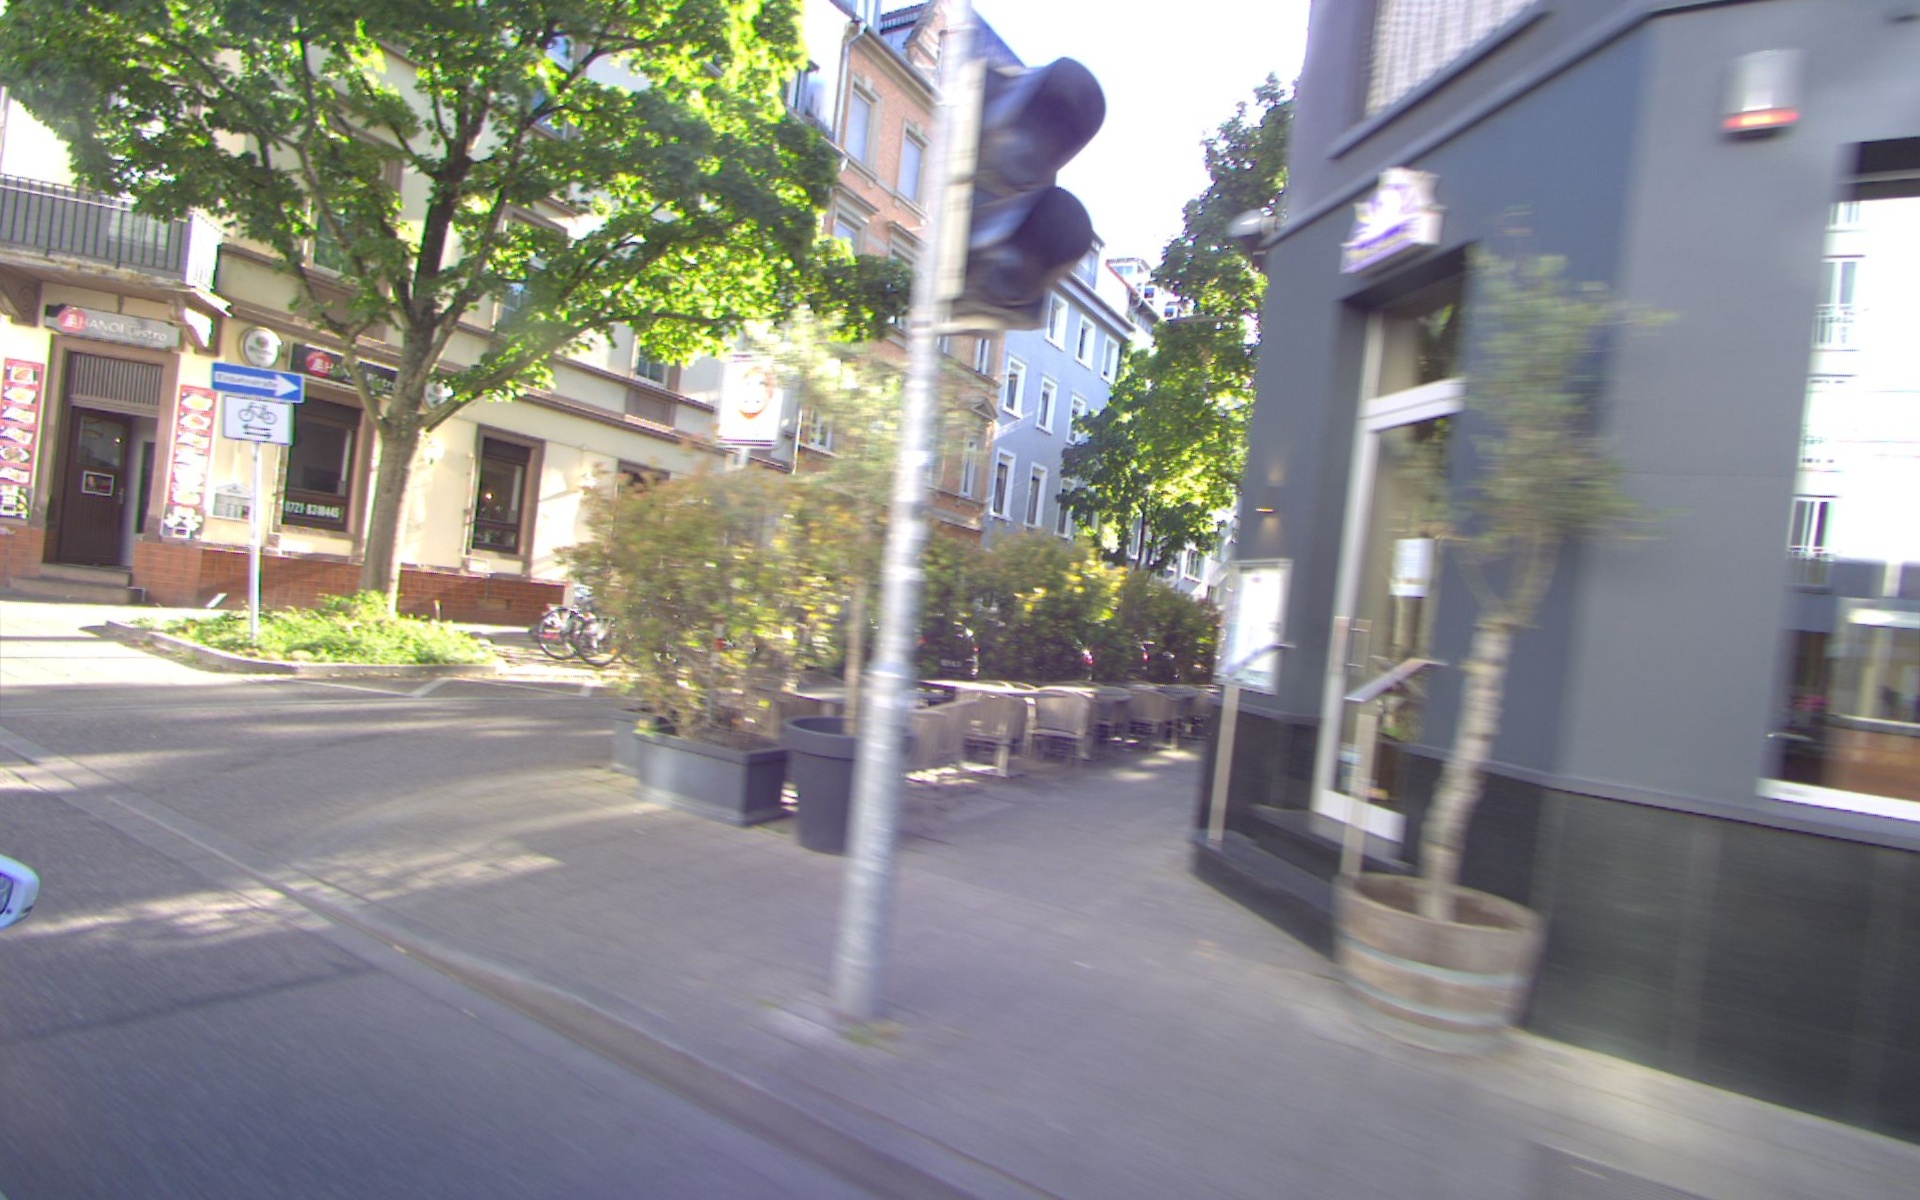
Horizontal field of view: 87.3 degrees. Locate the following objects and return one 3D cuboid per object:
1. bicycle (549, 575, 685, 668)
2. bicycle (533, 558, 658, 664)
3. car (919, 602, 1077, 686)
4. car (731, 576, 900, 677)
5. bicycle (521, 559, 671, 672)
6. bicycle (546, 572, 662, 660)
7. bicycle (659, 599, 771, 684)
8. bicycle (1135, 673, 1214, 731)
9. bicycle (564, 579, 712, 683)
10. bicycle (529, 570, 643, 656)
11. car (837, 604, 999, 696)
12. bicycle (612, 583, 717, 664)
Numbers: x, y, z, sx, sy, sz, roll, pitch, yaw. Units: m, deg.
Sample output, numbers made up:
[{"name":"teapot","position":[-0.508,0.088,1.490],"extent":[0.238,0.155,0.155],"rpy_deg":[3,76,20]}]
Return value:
[{"name":"bicycle","position":[-5.304,0.348,15.618],"extent":[1.827,1.137,0.344],"rpy_deg":[10,1,-26]},{"name":"bicycle","position":[-5.418,0.177,14.998],"extent":[1.553,1.309,0.344],"rpy_deg":[10,1,-26]},{"name":"car","position":[0.787,0.963,23.090],"extent":[1.690,1.527,3.785],"rpy_deg":[9,-3,-31]},{"name":"car","position":[-2.825,0.440,18.991],"extent":[1.690,1.527,3.785],"rpy_deg":[9,-3,-31]},{"name":"bicycle","position":[-5.201,0.235,14.424],"extent":[1.827,1.309,0.344],"rpy_deg":[10,1,-26]},{"name":"bicycle","position":[-5.669,0.258,16.069],"extent":[1.575,1.137,0.344],"rpy_deg":[10,1,-26]},{"name":"bicycle","position":[-3.819,0.657,15.711],"extent":[1.514,1.081,0.344],"rpy_deg":[10,1,-26]},{"name":"bicycle","position":[4.211,1.999,19.838],"extent":[0.344,0.931,1.514],"rpy_deg":[9,-3,-42]},{"name":"bicycle","position":[-4.573,0.459,14.334],"extent":[1.827,1.174,0.344],"rpy_deg":[10,1,-26]},{"name":"bicycle","position":[-6.062,0.222,16.335],"extent":[1.575,1.137,0.344],"rpy_deg":[10,1,-26]},{"name":"car","position":[-0.980,1.001,21.365],"extent":[1.690,1.527,3.785],"rpy_deg":[9,-3,-31]},{"name":"bicycle","position":[-5.152,0.420,17.575],"extent":[1.575,1.137,0.344],"rpy_deg":[10,1,-26]}]
